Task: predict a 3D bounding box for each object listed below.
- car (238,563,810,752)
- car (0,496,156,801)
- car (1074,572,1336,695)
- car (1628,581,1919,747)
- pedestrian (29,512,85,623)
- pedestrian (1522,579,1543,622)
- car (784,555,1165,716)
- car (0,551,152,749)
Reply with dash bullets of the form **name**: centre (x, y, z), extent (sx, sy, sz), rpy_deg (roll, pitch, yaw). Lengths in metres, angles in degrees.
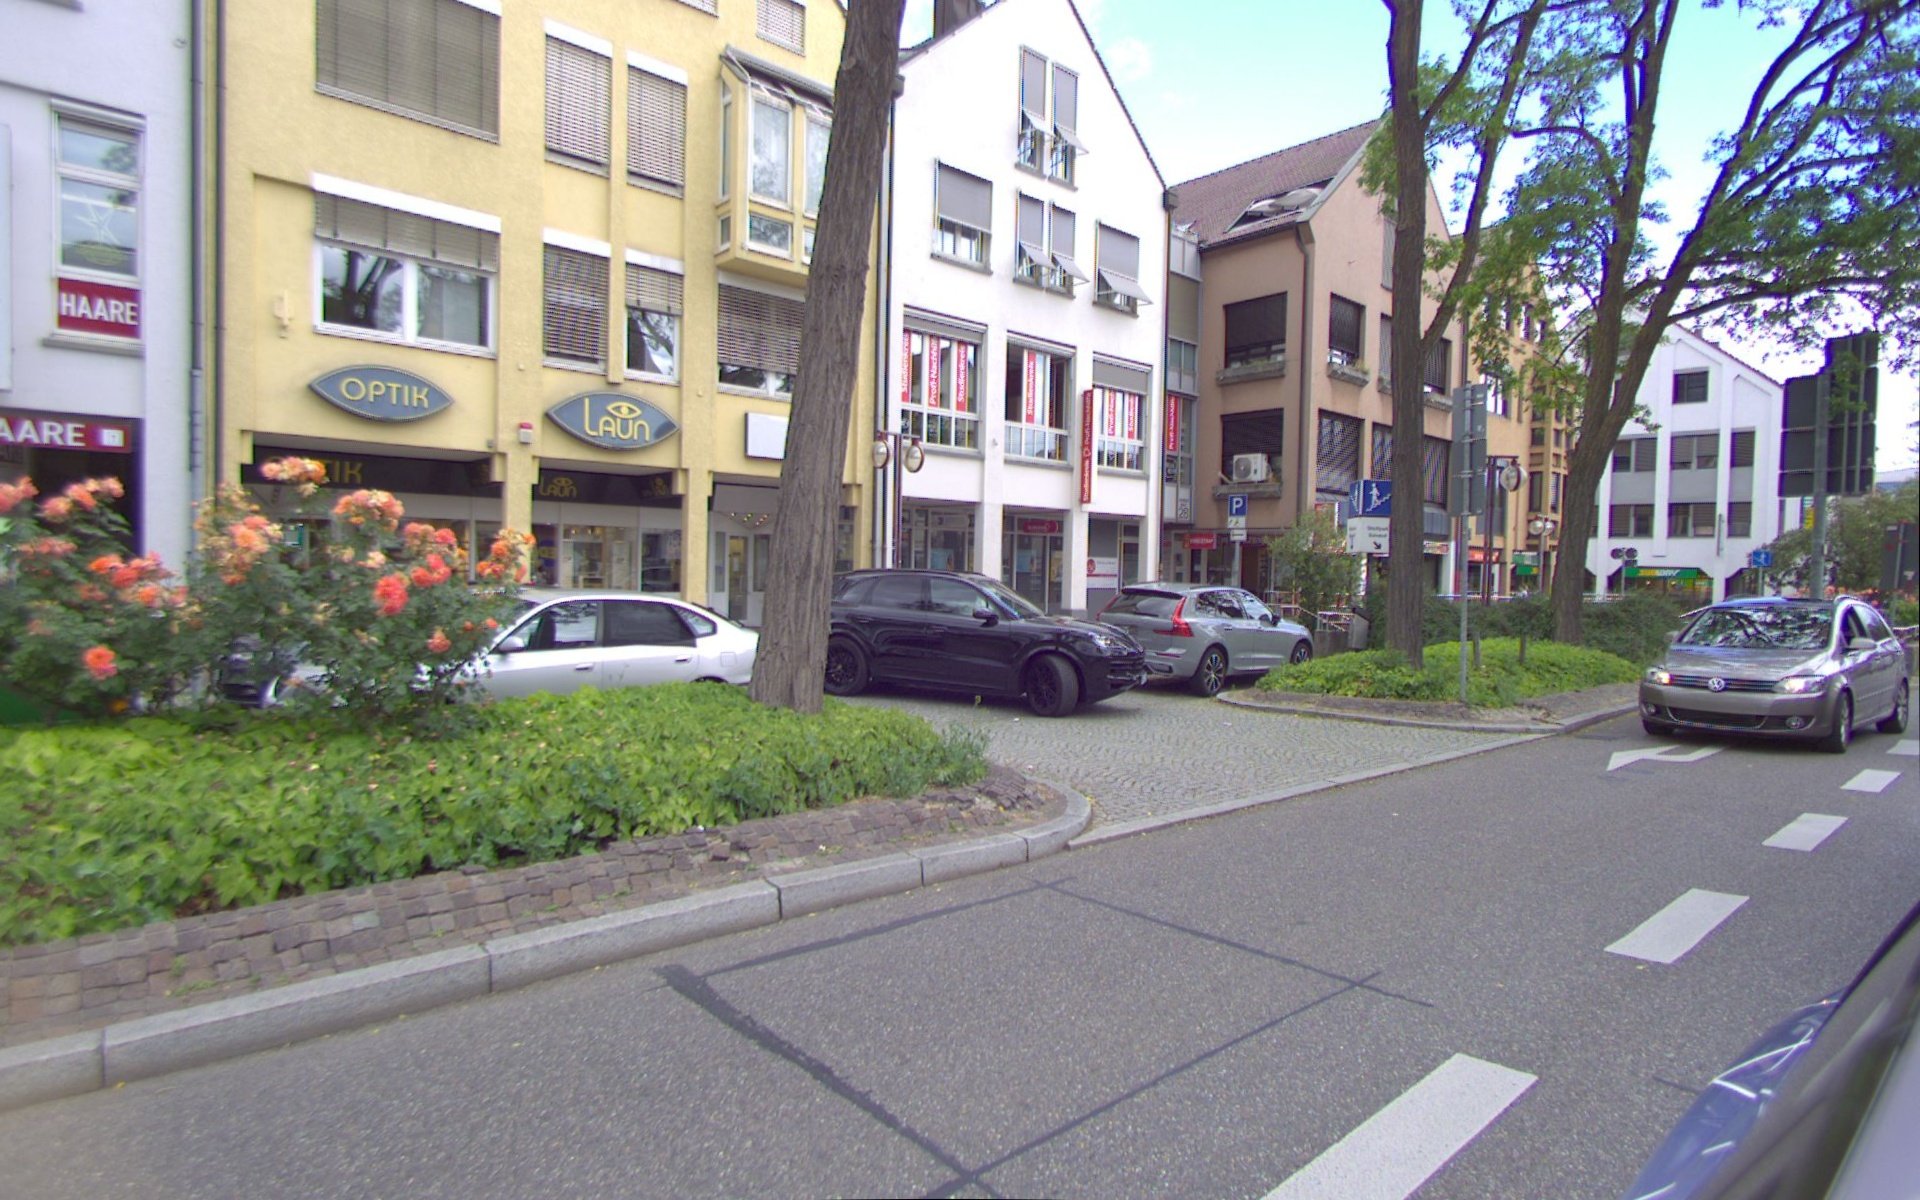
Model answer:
- **car**: centre (-3.903, 0.372, 9.645), extent (4.674, 1.325, 1.841), rpy_deg (-1, 3, -43)
- **car**: centre (-7.764, 0.266, 5.919), extent (4.674, 1.899, 1.996), rpy_deg (-1, 3, -43)
- **car**: centre (4.163, 0.431, 16.739), extent (4.676, 1.674, 1.996), rpy_deg (-1, 3, -44)
- **car**: centre (9.325, 0.603, 11.427), extent (3.926, 1.549, 1.801), rpy_deg (0, 0, -38)
- **pedestrian**: centre (-13.470, -0.482, 15.105), extent (0.415, 1.631, 0.558), rpy_deg (1, 1, -16)
- **pedestrian**: centre (22.236, 0.026, 39.320), extent (0.495, 1.645, 0.494), rpy_deg (1, 1, 4)
- **car**: centre (0.230, 0.369, 13.540), extent (4.692, 1.699, 1.988), rpy_deg (3, 2, 19)
- **car**: centre (-9.406, 0.387, 7.920), extent (4.676, 1.566, 1.996), rpy_deg (-1, 3, -44)
